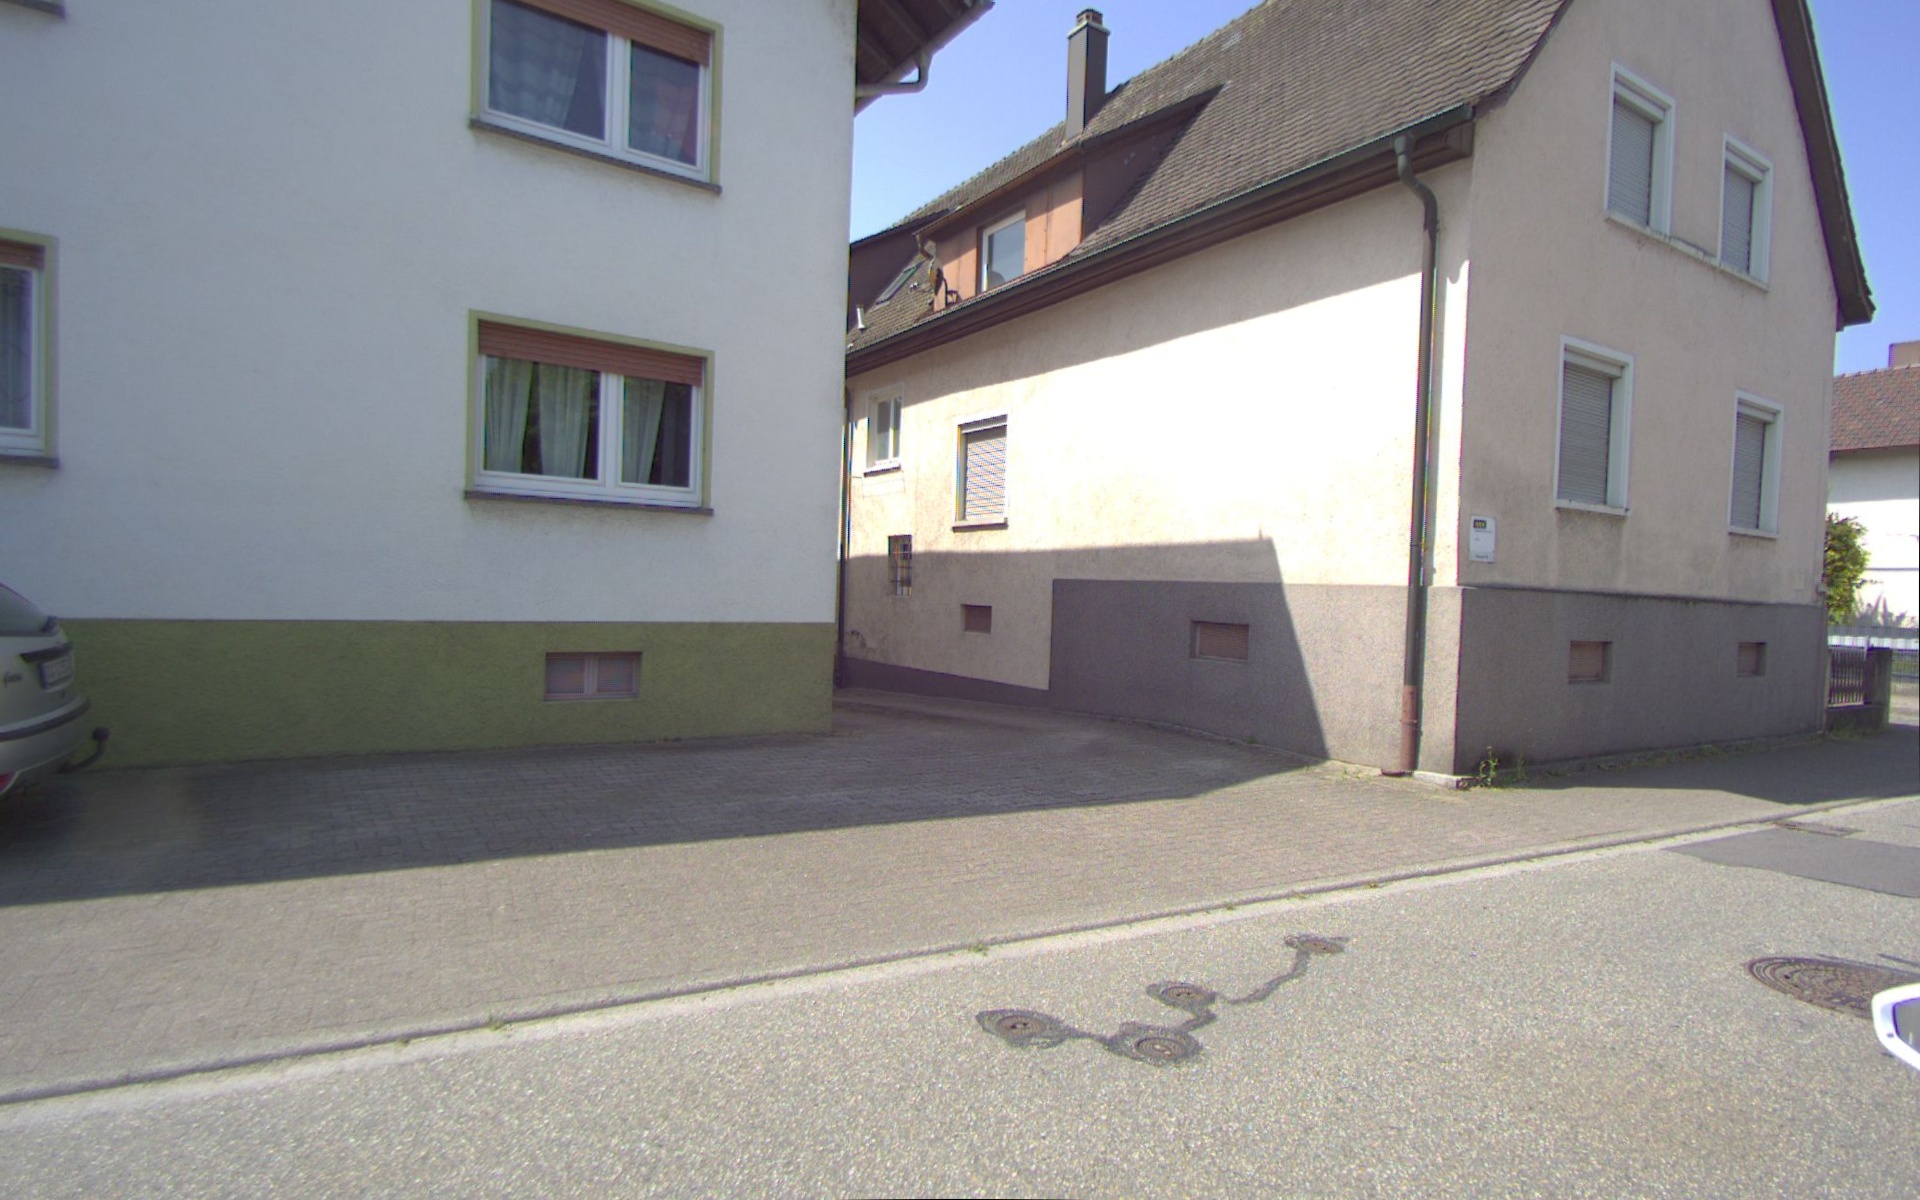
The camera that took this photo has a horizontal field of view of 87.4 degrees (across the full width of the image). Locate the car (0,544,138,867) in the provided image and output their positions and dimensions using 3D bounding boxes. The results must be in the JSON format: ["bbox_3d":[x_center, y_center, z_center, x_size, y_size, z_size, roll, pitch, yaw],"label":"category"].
[{"bbox_3d":[-6.311,0.415,4.338,4.008,1.454,1.769,1,1,-31],"label":"car"}]
